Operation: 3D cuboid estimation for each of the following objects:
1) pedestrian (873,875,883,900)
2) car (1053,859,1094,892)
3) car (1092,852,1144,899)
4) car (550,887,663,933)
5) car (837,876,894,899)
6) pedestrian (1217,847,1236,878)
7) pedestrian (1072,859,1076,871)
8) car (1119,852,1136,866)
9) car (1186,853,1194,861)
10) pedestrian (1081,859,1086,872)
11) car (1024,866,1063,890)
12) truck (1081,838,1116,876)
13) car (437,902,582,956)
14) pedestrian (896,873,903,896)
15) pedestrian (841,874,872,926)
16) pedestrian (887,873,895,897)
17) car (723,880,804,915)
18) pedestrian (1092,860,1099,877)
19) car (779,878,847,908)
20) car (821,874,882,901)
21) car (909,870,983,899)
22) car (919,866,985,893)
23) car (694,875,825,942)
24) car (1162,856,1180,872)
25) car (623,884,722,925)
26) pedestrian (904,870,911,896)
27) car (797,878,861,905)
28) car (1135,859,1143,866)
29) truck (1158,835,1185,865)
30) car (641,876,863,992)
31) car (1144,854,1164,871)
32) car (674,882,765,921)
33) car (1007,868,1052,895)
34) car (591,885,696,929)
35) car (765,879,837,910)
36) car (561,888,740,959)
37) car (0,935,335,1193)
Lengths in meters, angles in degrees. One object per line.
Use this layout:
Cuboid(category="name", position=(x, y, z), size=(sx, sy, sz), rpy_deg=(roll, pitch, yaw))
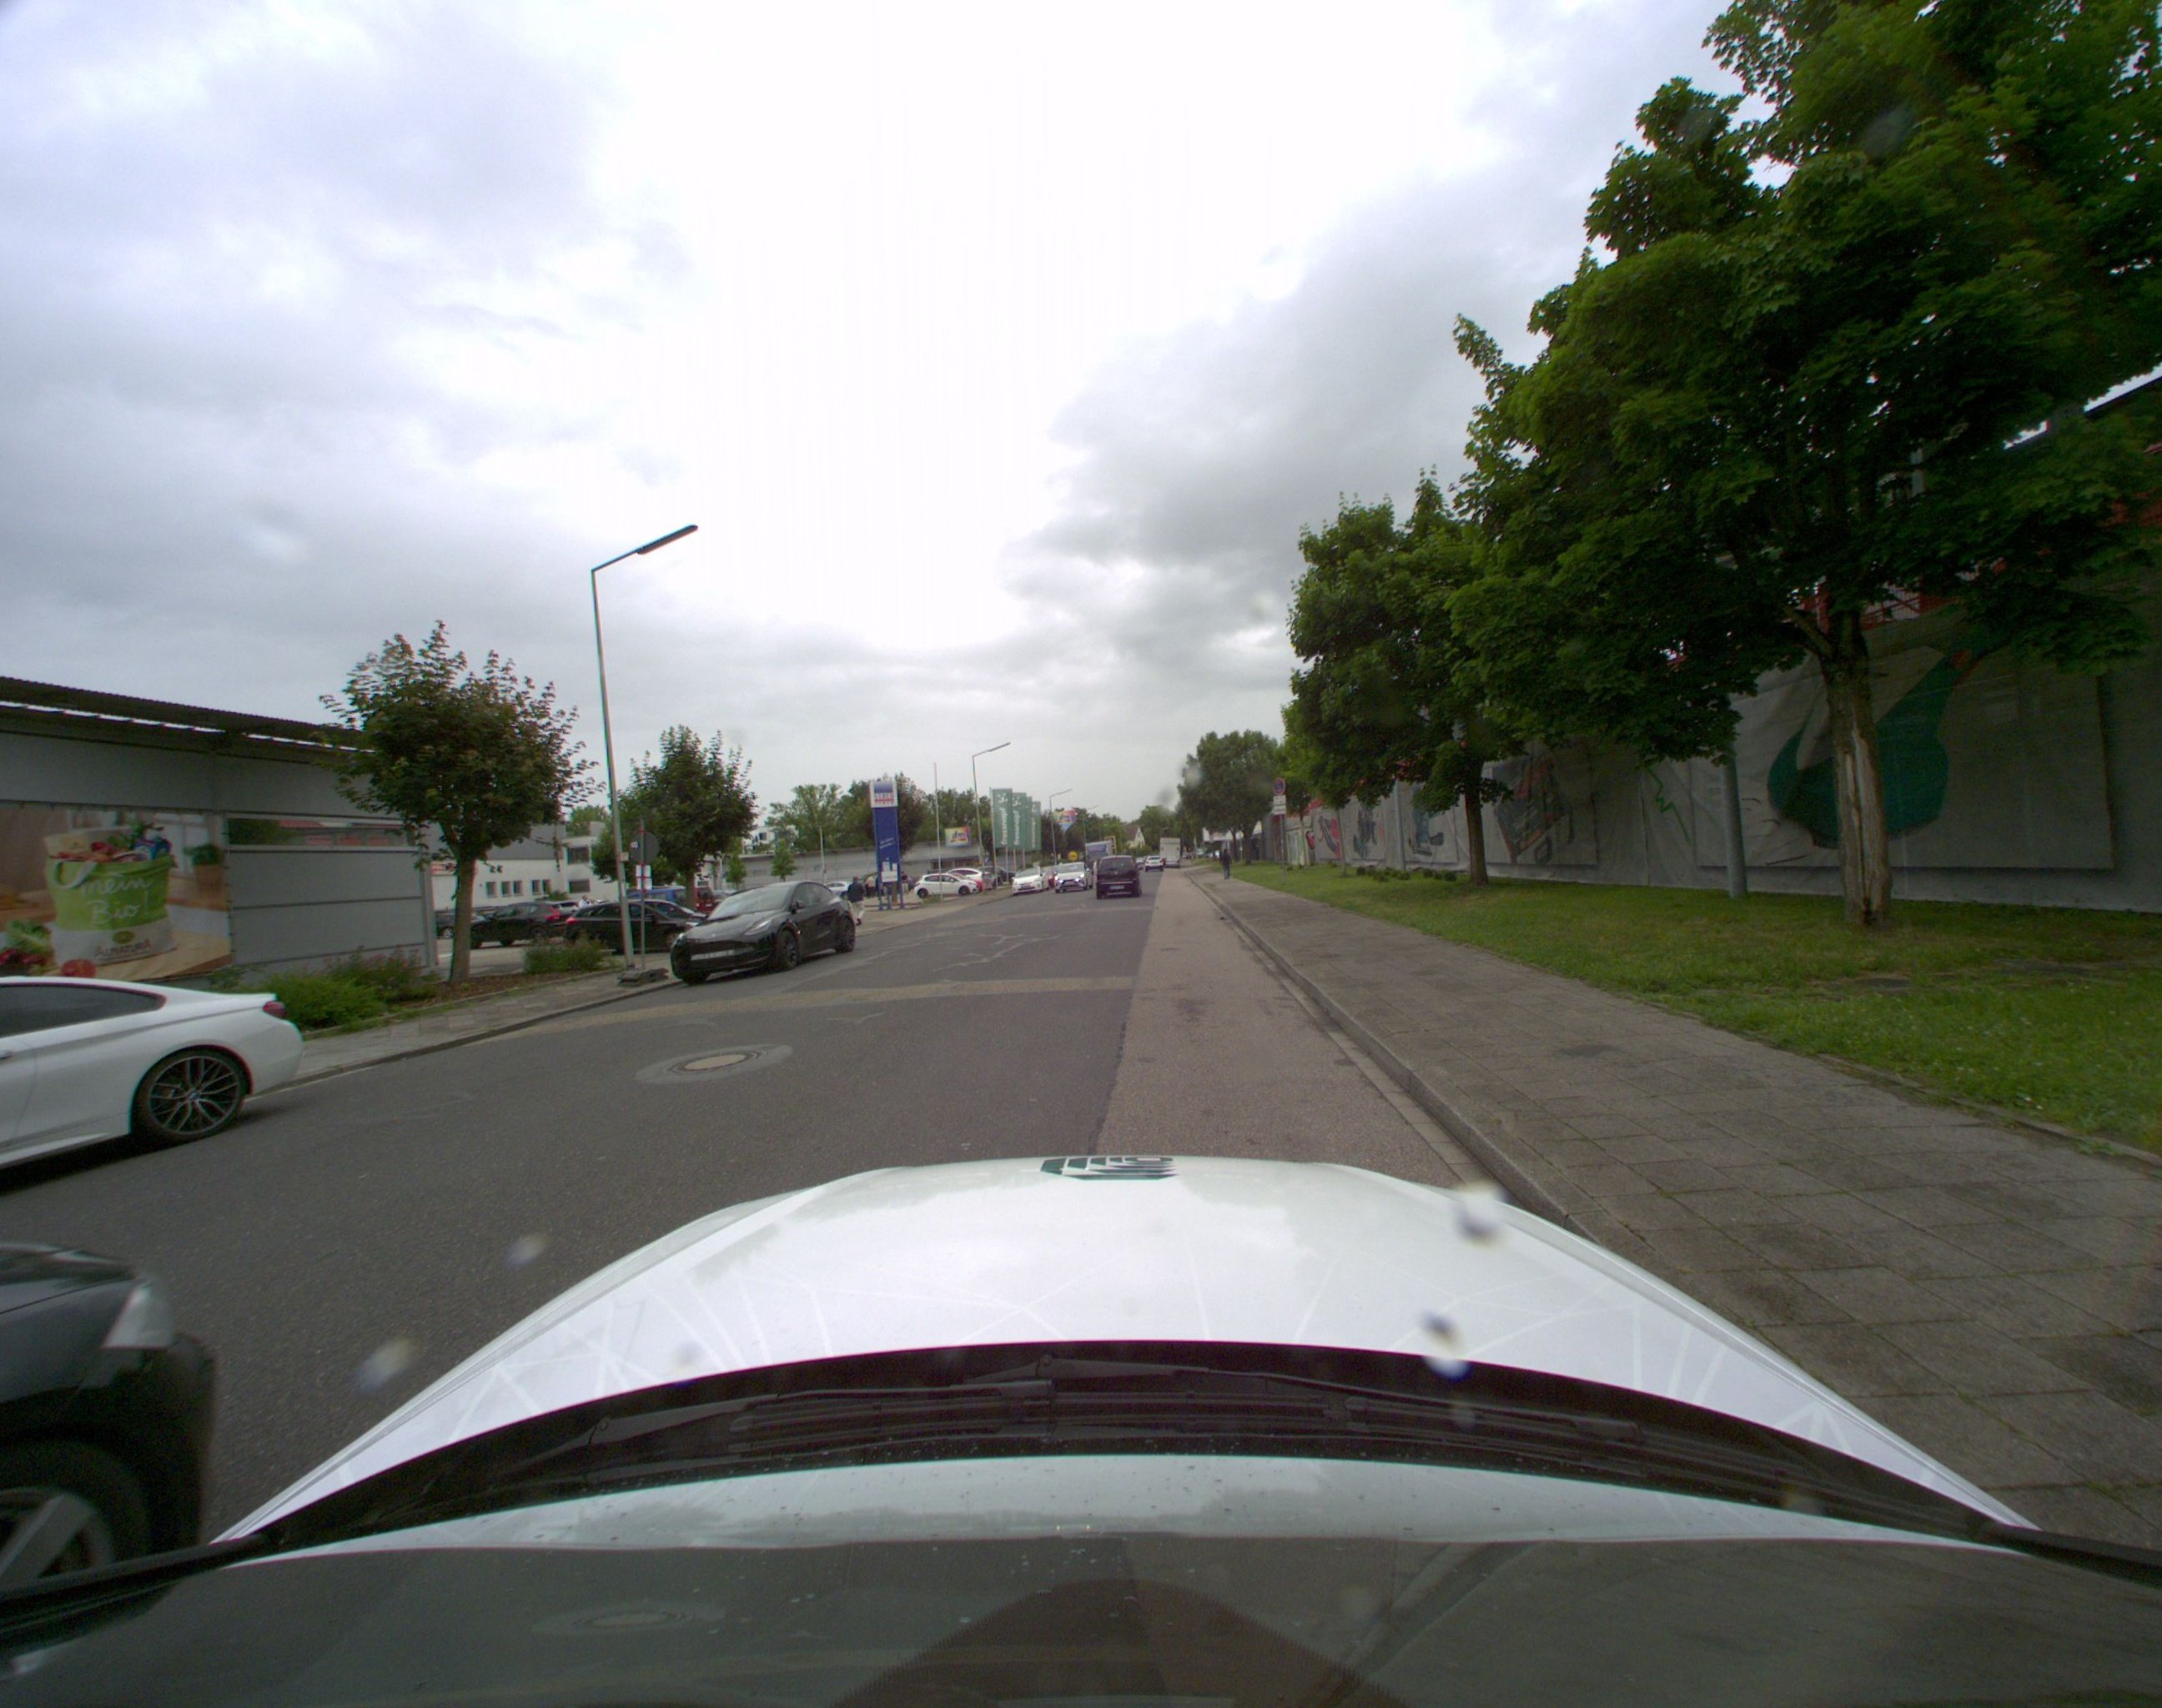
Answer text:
Cuboid(category="pedestrian", position=(-13.476, 2.222, 54.069), size=(0.455, 1.642, 0.373), rpy_deg=(-4, -1, -12))
Cuboid(category="car", position=(-0.348, 1.104, 42.898), size=(1.590, 1.528, 3.534), rpy_deg=(-6, -1, 6))
Cuboid(category="car", position=(1.532, 0.816, 32.325), size=(1.672, 1.632, 3.766), rpy_deg=(-5, -1, 7))
Cuboid(category="car", position=(-21.357, 2.501, 36.746), size=(3.967, 1.669, 1.879), rpy_deg=(-5, -1, 6))
Cuboid(category="car", position=(-17.529, 2.693, 66.328), size=(3.966, 1.492, 1.789), rpy_deg=(-5, -1, 6))
Cuboid(category="pedestrian", position=(7.939, 0.485, 44.560), size=(0.914, 1.635, 0.854), rpy_deg=(-3, -1, 8))
Cuboid(category="pedestrian", position=(-0.860, 1.462, 105.521), size=(0.400, 1.531, 0.485), rpy_deg=(-5, -1, 0))
Cuboid(category="car", position=(5.978, 0.610, 105.358), size=(1.984, 1.684, 4.005), rpy_deg=(-3, -1, 5))
Cuboid(category="car", position=(26.947, 0.735, 201.007), size=(1.876, 1.683, 4.262), rpy_deg=(-2, 0, 7))
Cuboid(category="pedestrian", position=(0.317, 1.452, 99.689), size=(0.400, 1.531, 0.485), rpy_deg=(-5, -1, 0))
Cuboid(category="car", position=(-2.463, 1.603, 54.516), size=(1.888, 1.367, 4.007), rpy_deg=(-4, -1, 6))
Cuboid(category="truck", position=(2.079, 0.354, 93.354), size=(2.958, 3.955, 6.416), rpy_deg=(-6, -1, 6))
Cuboid(category="car", position=(-21.191, 2.749, 30.393), size=(4.002, 1.485, 1.863), rpy_deg=(-4, -1, -21))
Cuboid(category="pedestrian", position=(-12.155, 2.042, 54.621), size=(0.329, 1.570, 0.503), rpy_deg=(-3, -1, -5))
Cuboid(category="pedestrian", position=(-7.770, 1.573, 28.191), size=(0.772, 1.715, 0.697), rpy_deg=(-4, -1, 1))
Cuboid(category="pedestrian", position=(-12.682, 2.057, 54.314), size=(0.358, 1.570, 0.503), rpy_deg=(-4, -1, -5))
Cuboid(category="car", position=(-19.126, 2.610, 49.159), size=(3.967, 1.669, 1.879), rpy_deg=(-5, -1, 6))
Cuboid(category="pedestrian", position=(1.473, 1.498, 82.517), size=(0.628, 1.636, 0.669), rpy_deg=(-5, -1, 5))
Cuboid(category="car", position=(-18.630, 2.715, 56.648), size=(3.967, 1.669, 1.879), rpy_deg=(-5, -1, 6))
Cuboid(category="car", position=(-17.672, 2.559, 62.729), size=(3.967, 1.669, 1.879), rpy_deg=(-5, -1, 6))
Cuboid(category="car", position=(-8.373, 1.879, 50.744), size=(4.192, 1.463, 1.951), rpy_deg=(-5, -1, -2))
Cuboid(category="car", position=(-8.786, 1.734, 55.680), size=(4.121, 1.463, 1.898), rpy_deg=(-5, -1, 0))
Cuboid(category="car", position=(-11.650, 1.948, 29.732), size=(3.918, 2.013, 1.760), rpy_deg=(-5, -1, -1))
Cuboid(category="car", position=(10.782, 1.214, 97.817), size=(1.984, 1.806, 4.005), rpy_deg=(-3, -1, 5))
Cuboid(category="car", position=(-20.830, 2.564, 41.618), size=(3.967, 1.669, 1.879), rpy_deg=(-5, -1, 6))
Cuboid(category="pedestrian", position=(-11.603, 1.952, 54.412), size=(0.262, 1.730, 0.421), rpy_deg=(-4, -1, -6))
Cuboid(category="car", position=(-18.653, 2.761, 60.424), size=(3.967, 1.669, 1.879), rpy_deg=(-5, -1, 6))
Cuboid(category="car", position=(12.407, 1.836, 175.387), size=(1.534, 1.365, 3.434), rpy_deg=(-3, -1, 6))
Cuboid(category="truck", position=(11.748, -0.456, 106.932), size=(3.120, 3.585, 10.063), rpy_deg=(-3, -1, 5))
Cuboid(category="car", position=(-5.937, 1.354, 15.410), size=(1.938, 1.526, 4.408), rpy_deg=(-9, -1, 4))
Cuboid(category="car", position=(7.363, 0.830, 81.751), size=(1.876, 1.532, 4.262), rpy_deg=(-2, 0, 7))
Cuboid(category="car", position=(-19.476, 2.536, 43.939), size=(3.967, 1.669, 1.879), rpy_deg=(-5, -1, 6))
Cuboid(category="car", position=(-2.961, 1.593, 48.006), size=(1.888, 1.367, 4.007), rpy_deg=(-5, -1, 6))
Cuboid(category="car", position=(-21.011, 2.526, 39.206), size=(3.967, 1.669, 1.879), rpy_deg=(-5, -1, 6))
Cuboid(category="car", position=(-18.631, 2.663, 54.218), size=(3.967, 1.669, 1.879), rpy_deg=(-5, -1, 6))
Cuboid(category="car", position=(-11.742, 1.873, 22.377), size=(3.854, 1.620, 1.931), rpy_deg=(-3, -1, 6))
Cuboid(category="car", position=(-7.423, 1.487, 4.662), size=(1.690, 1.367, 4.525), rpy_deg=(-9, -1, 5))
